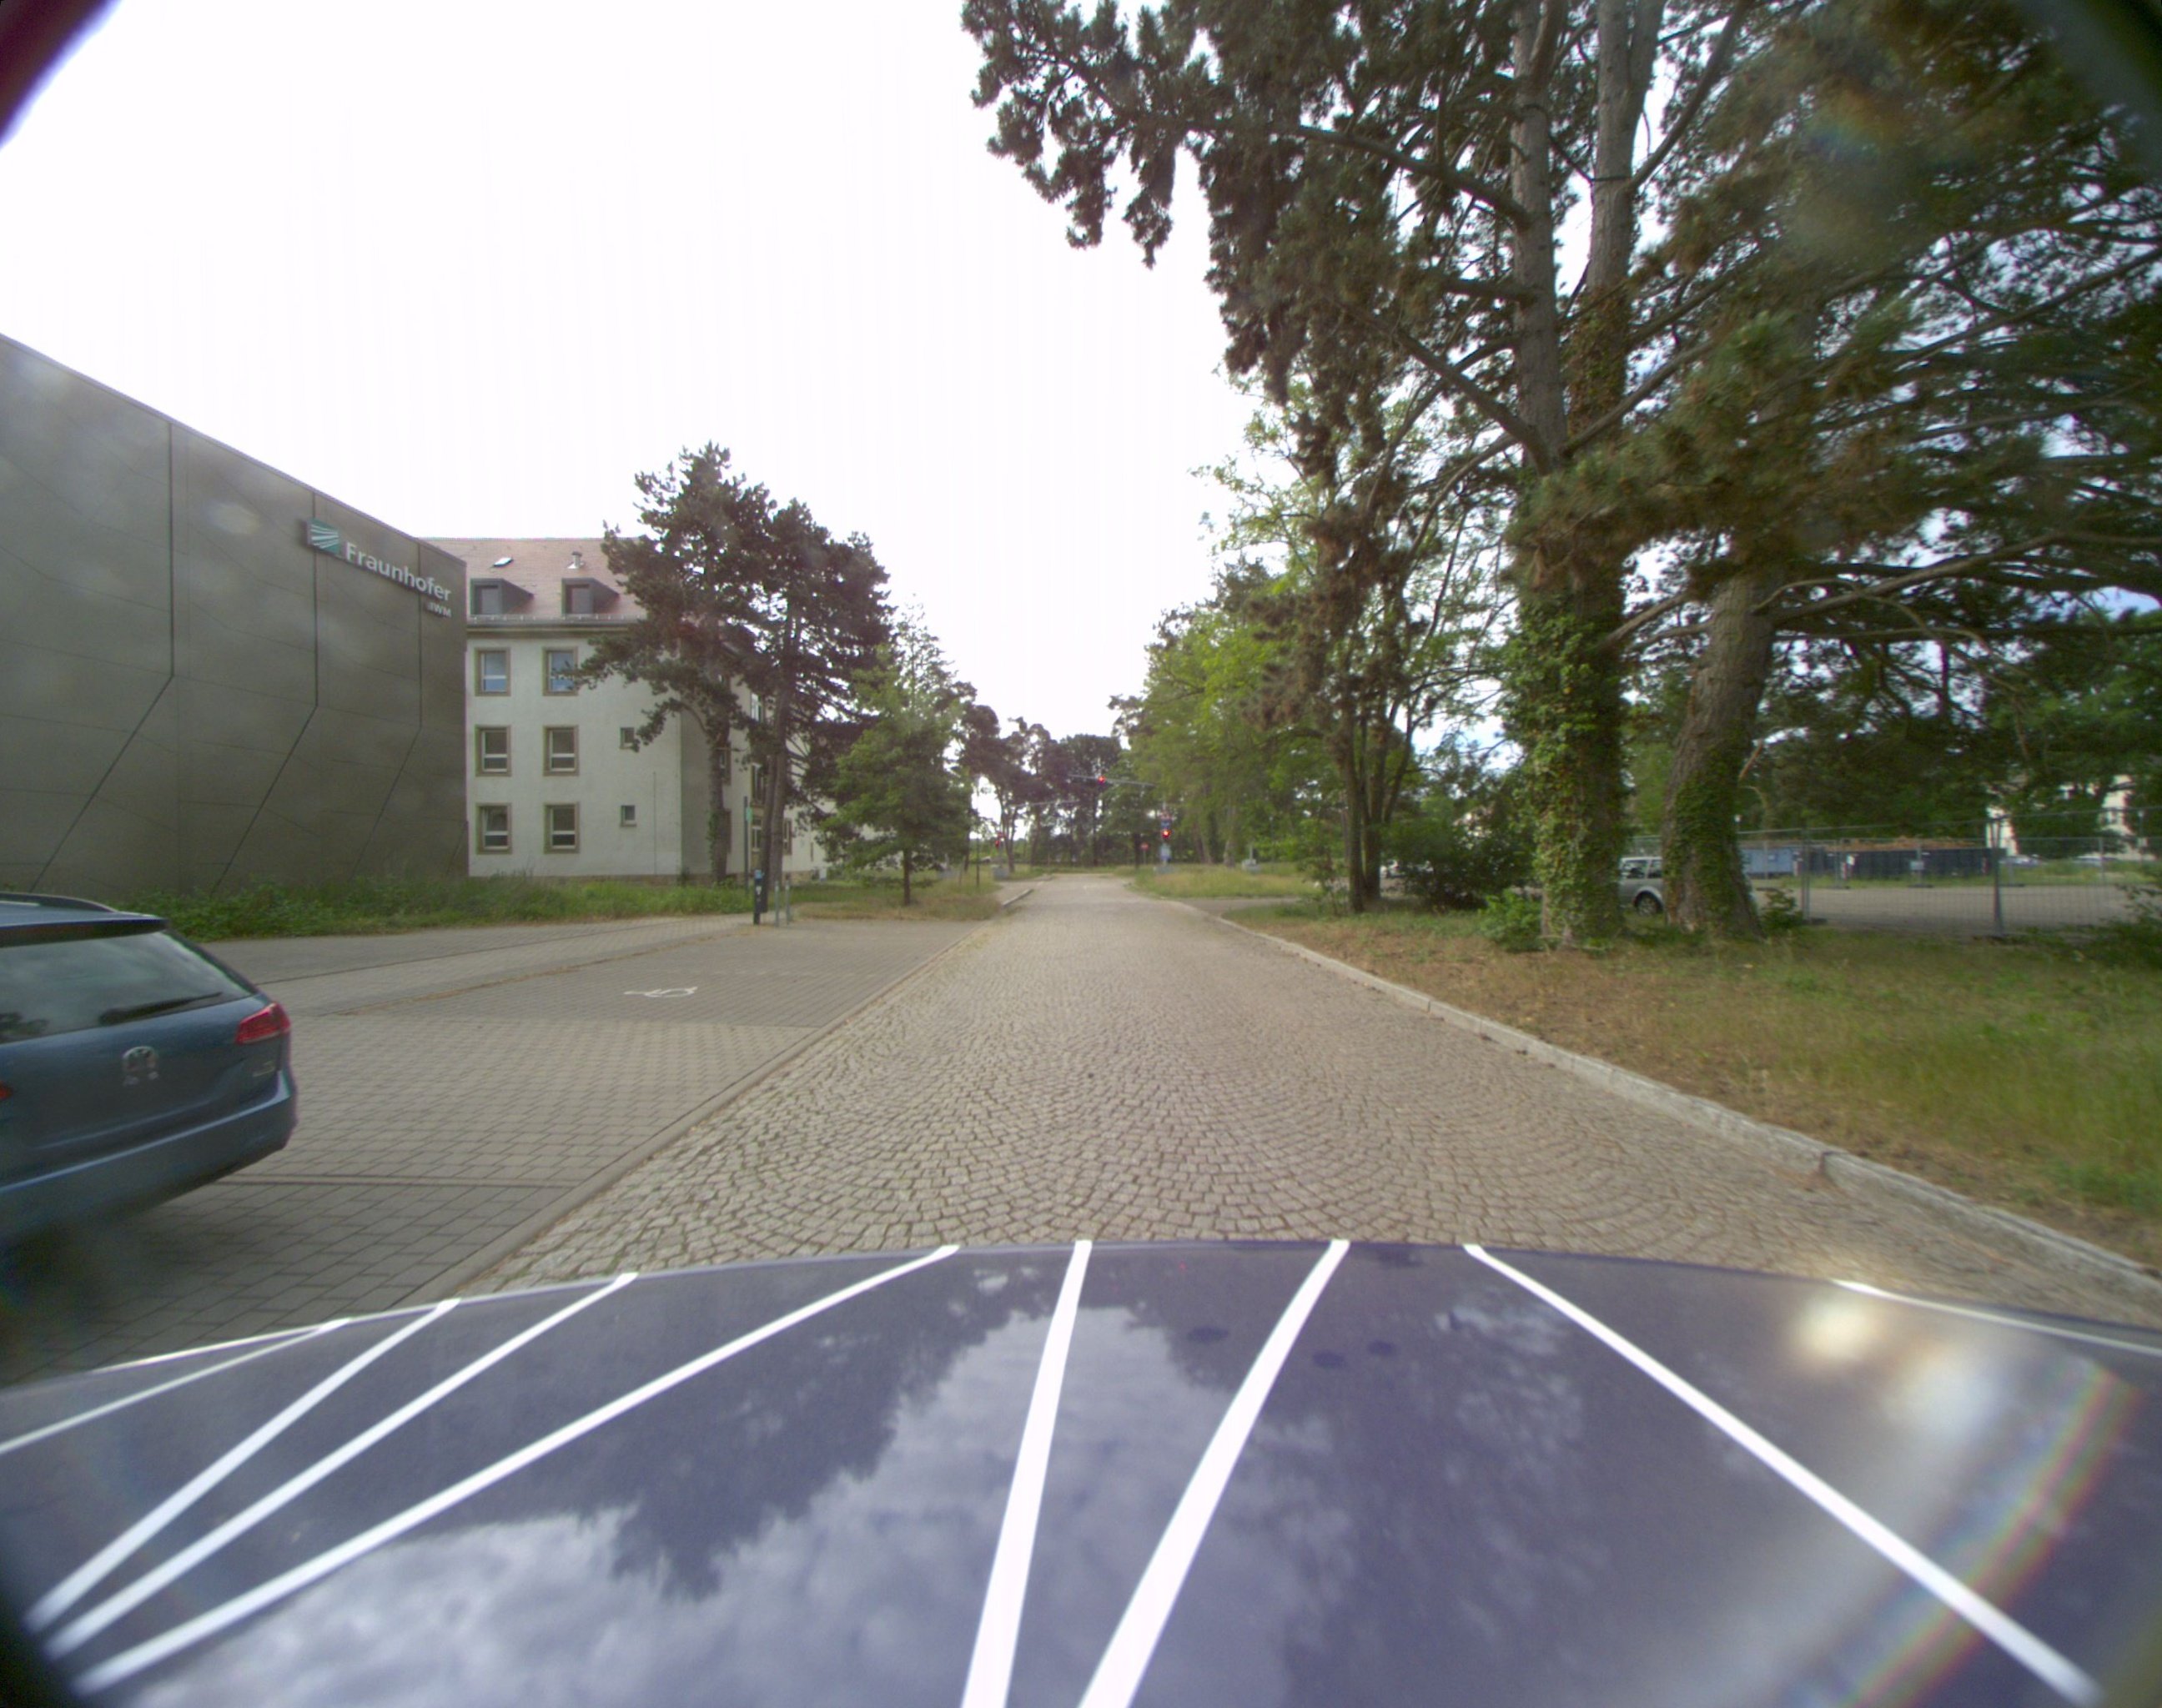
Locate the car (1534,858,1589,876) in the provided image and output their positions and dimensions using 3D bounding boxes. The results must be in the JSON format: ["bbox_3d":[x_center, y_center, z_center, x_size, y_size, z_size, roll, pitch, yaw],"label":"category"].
[{"bbox_3d":[42.122,1.107,66.693,1.830,1.466,4.401,0,0,-3],"label":"car"}]

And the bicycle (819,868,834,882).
[{"bbox_3d":[-20.743,1.697,62.000,0.447,1.121,1.732,0,0,8],"label":"bicycle"}]

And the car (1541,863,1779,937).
[{"bbox_3d":[12.779,0.932,17.206,1.829,1.408,4.420,2,-1,-3],"label":"car"}]

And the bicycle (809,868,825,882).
[{"bbox_3d":[-21.535,1.729,61.941,0.447,1.121,1.732,0,0,8],"label":"bicycle"}]

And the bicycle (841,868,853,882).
[{"bbox_3d":[-19.151,1.695,62.165,0.476,1.121,1.656,0,0,-2],"label":"bicycle"}]

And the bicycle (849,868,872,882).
[{"bbox_3d":[-17.563,1.703,60.550,1.655,1.079,0.615,-1,0,1],"label":"bicycle"}]

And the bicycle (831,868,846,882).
[{"bbox_3d":[-19.772,1.685,61.923,0.476,1.121,1.704,0,0,8],"label":"bicycle"}]

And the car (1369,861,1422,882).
[{"bbox_3d":[22.597,1.243,54.767,1.830,1.417,4.319,0,0,-3],"label":"car"}]

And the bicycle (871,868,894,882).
[{"bbox_3d":[-15.865,1.687,60.716,1.656,1.079,0.614,0,0,-4],"label":"bicycle"}]

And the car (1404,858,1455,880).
[{"bbox_3d":[25.103,1.118,54.851,1.674,1.510,3.899,0,-2,-3],"label":"car"}]

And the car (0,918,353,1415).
[{"bbox_3d":[-5.675,1.010,2.578,4.503,1.466,1.830,1,0,-3],"label":"car"}]

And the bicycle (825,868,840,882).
[{"bbox_3d":[-20.266,1.679,61.941,0.447,1.121,1.703,0,0,8],"label":"bicycle"}]
